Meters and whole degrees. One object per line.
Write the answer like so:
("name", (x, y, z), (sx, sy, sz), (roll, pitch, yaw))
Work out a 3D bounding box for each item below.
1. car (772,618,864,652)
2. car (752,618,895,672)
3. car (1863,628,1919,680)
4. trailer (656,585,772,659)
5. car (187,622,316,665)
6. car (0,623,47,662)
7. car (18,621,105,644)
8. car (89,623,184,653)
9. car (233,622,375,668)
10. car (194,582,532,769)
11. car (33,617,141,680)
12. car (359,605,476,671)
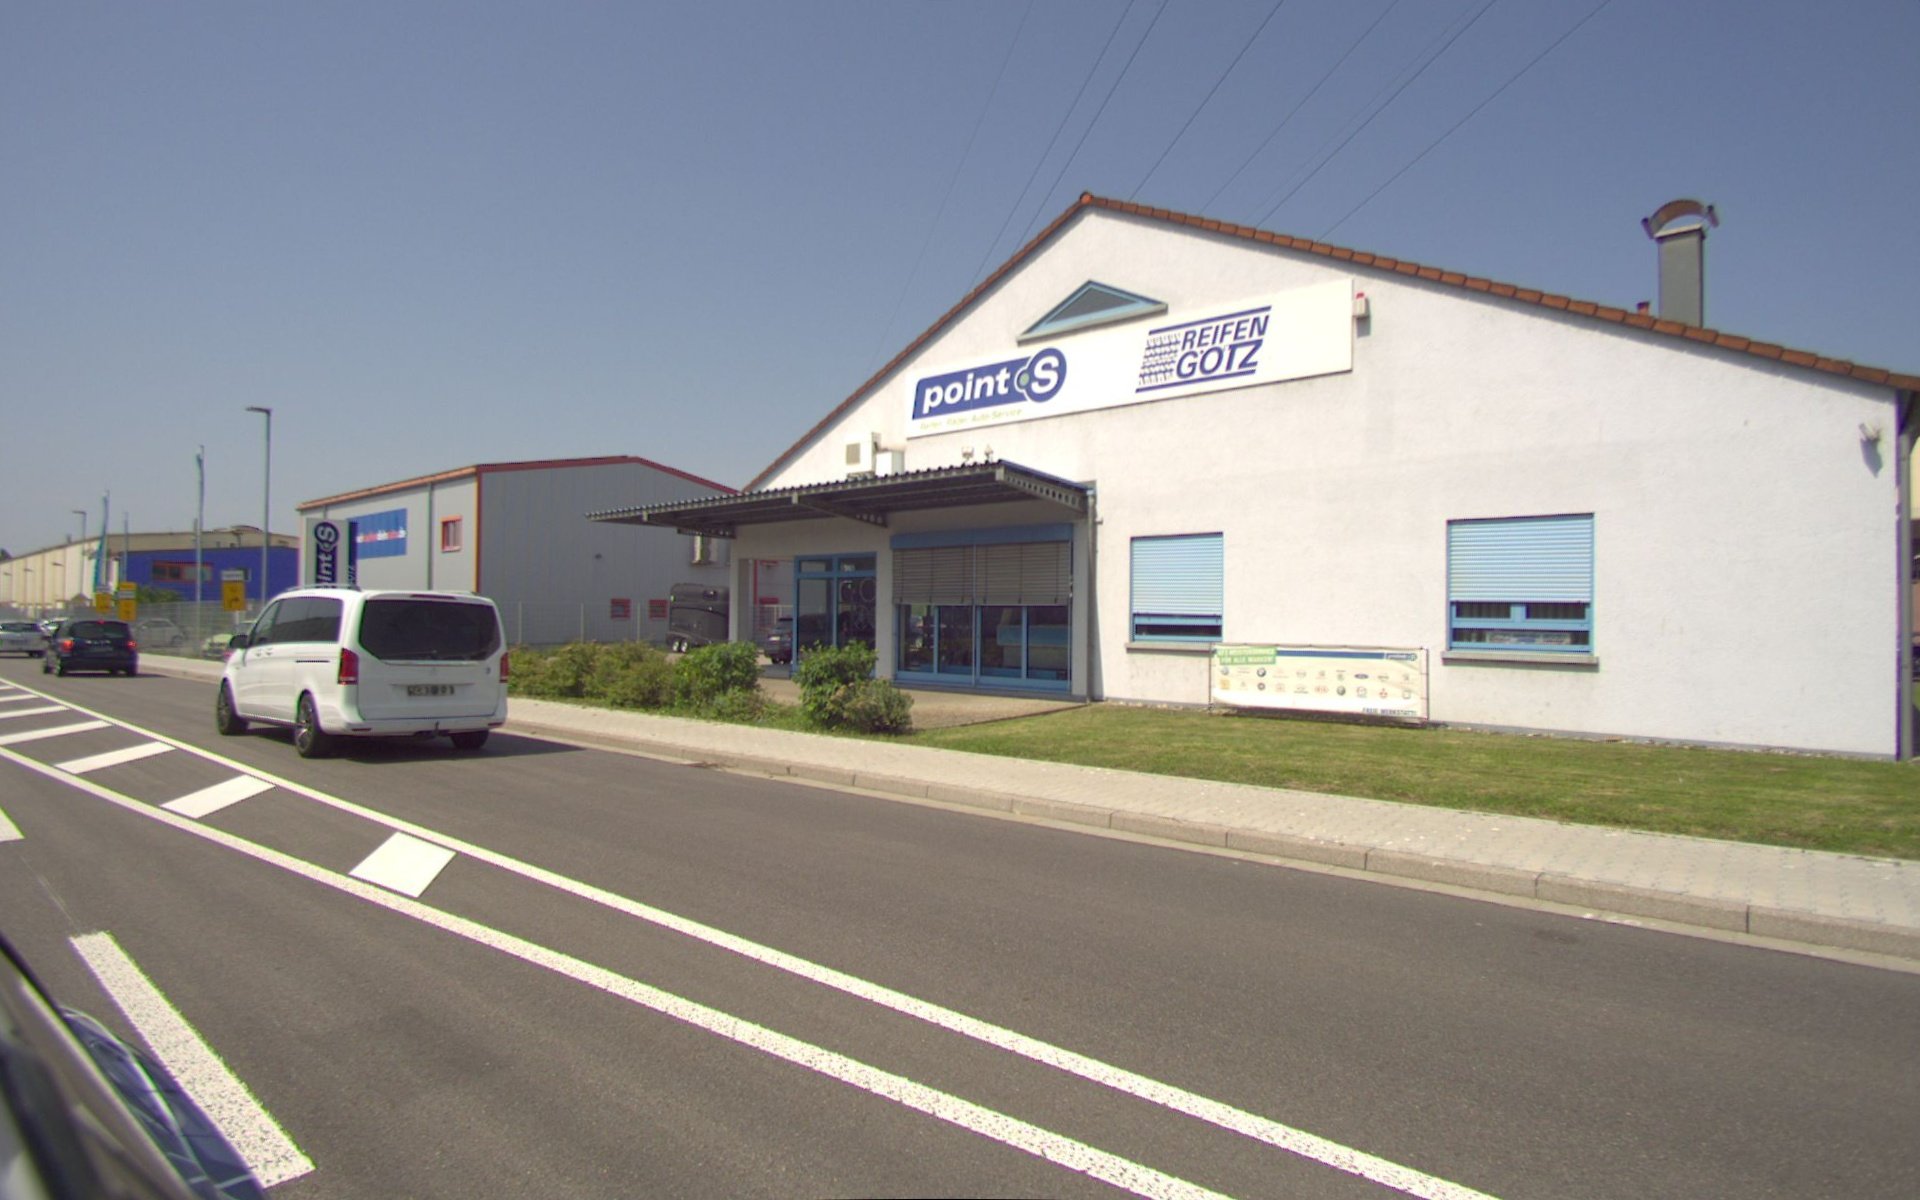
("car", (-6.408, 1.574, 45.446), (4.192, 1.459, 1.759), (-2, -3, 41))
("car", (-3.992, 1.325, 29.973), (1.785, 1.497, 3.942), (-2, -3, 44))
("car", (27.871, 1.536, 28.201), (3.998, 1.434, 1.653), (-1, -4, 41))
("trailer", (-10.198, 0.846, 41.776), (5.122, 2.870, 2.140), (0, 0, 41))
("car", (-26.413, 1.583, 37.907), (1.722, 1.505, 4.086), (0, -1, 6))
("car", (-37.759, 1.678, 40.214), (4.259, 1.477, 1.745), (-1, -4, 43))
("car", (-60.695, 2.224, 68.471), (4.090, 1.514, 1.780), (1, -2, -29))
("car", (-41.913, 1.899, 51.586), (1.576, 1.476, 3.469), (0, -2, 16))
("car", (-22.524, 1.509, 34.931), (1.728, 1.505, 3.979), (-1, -2, 16))
("car", (-7.599, 0.826, 12.633), (5.165, 1.888, 1.973), (-1, -3, 40))
("car", (-24.030, 1.305, 27.819), (3.971, 1.612, 1.651), (-1, -4, 41))
("car", (-18.054, 1.215, 33.577), (4.680, 2.029, 1.972), (0, -2, 43))
